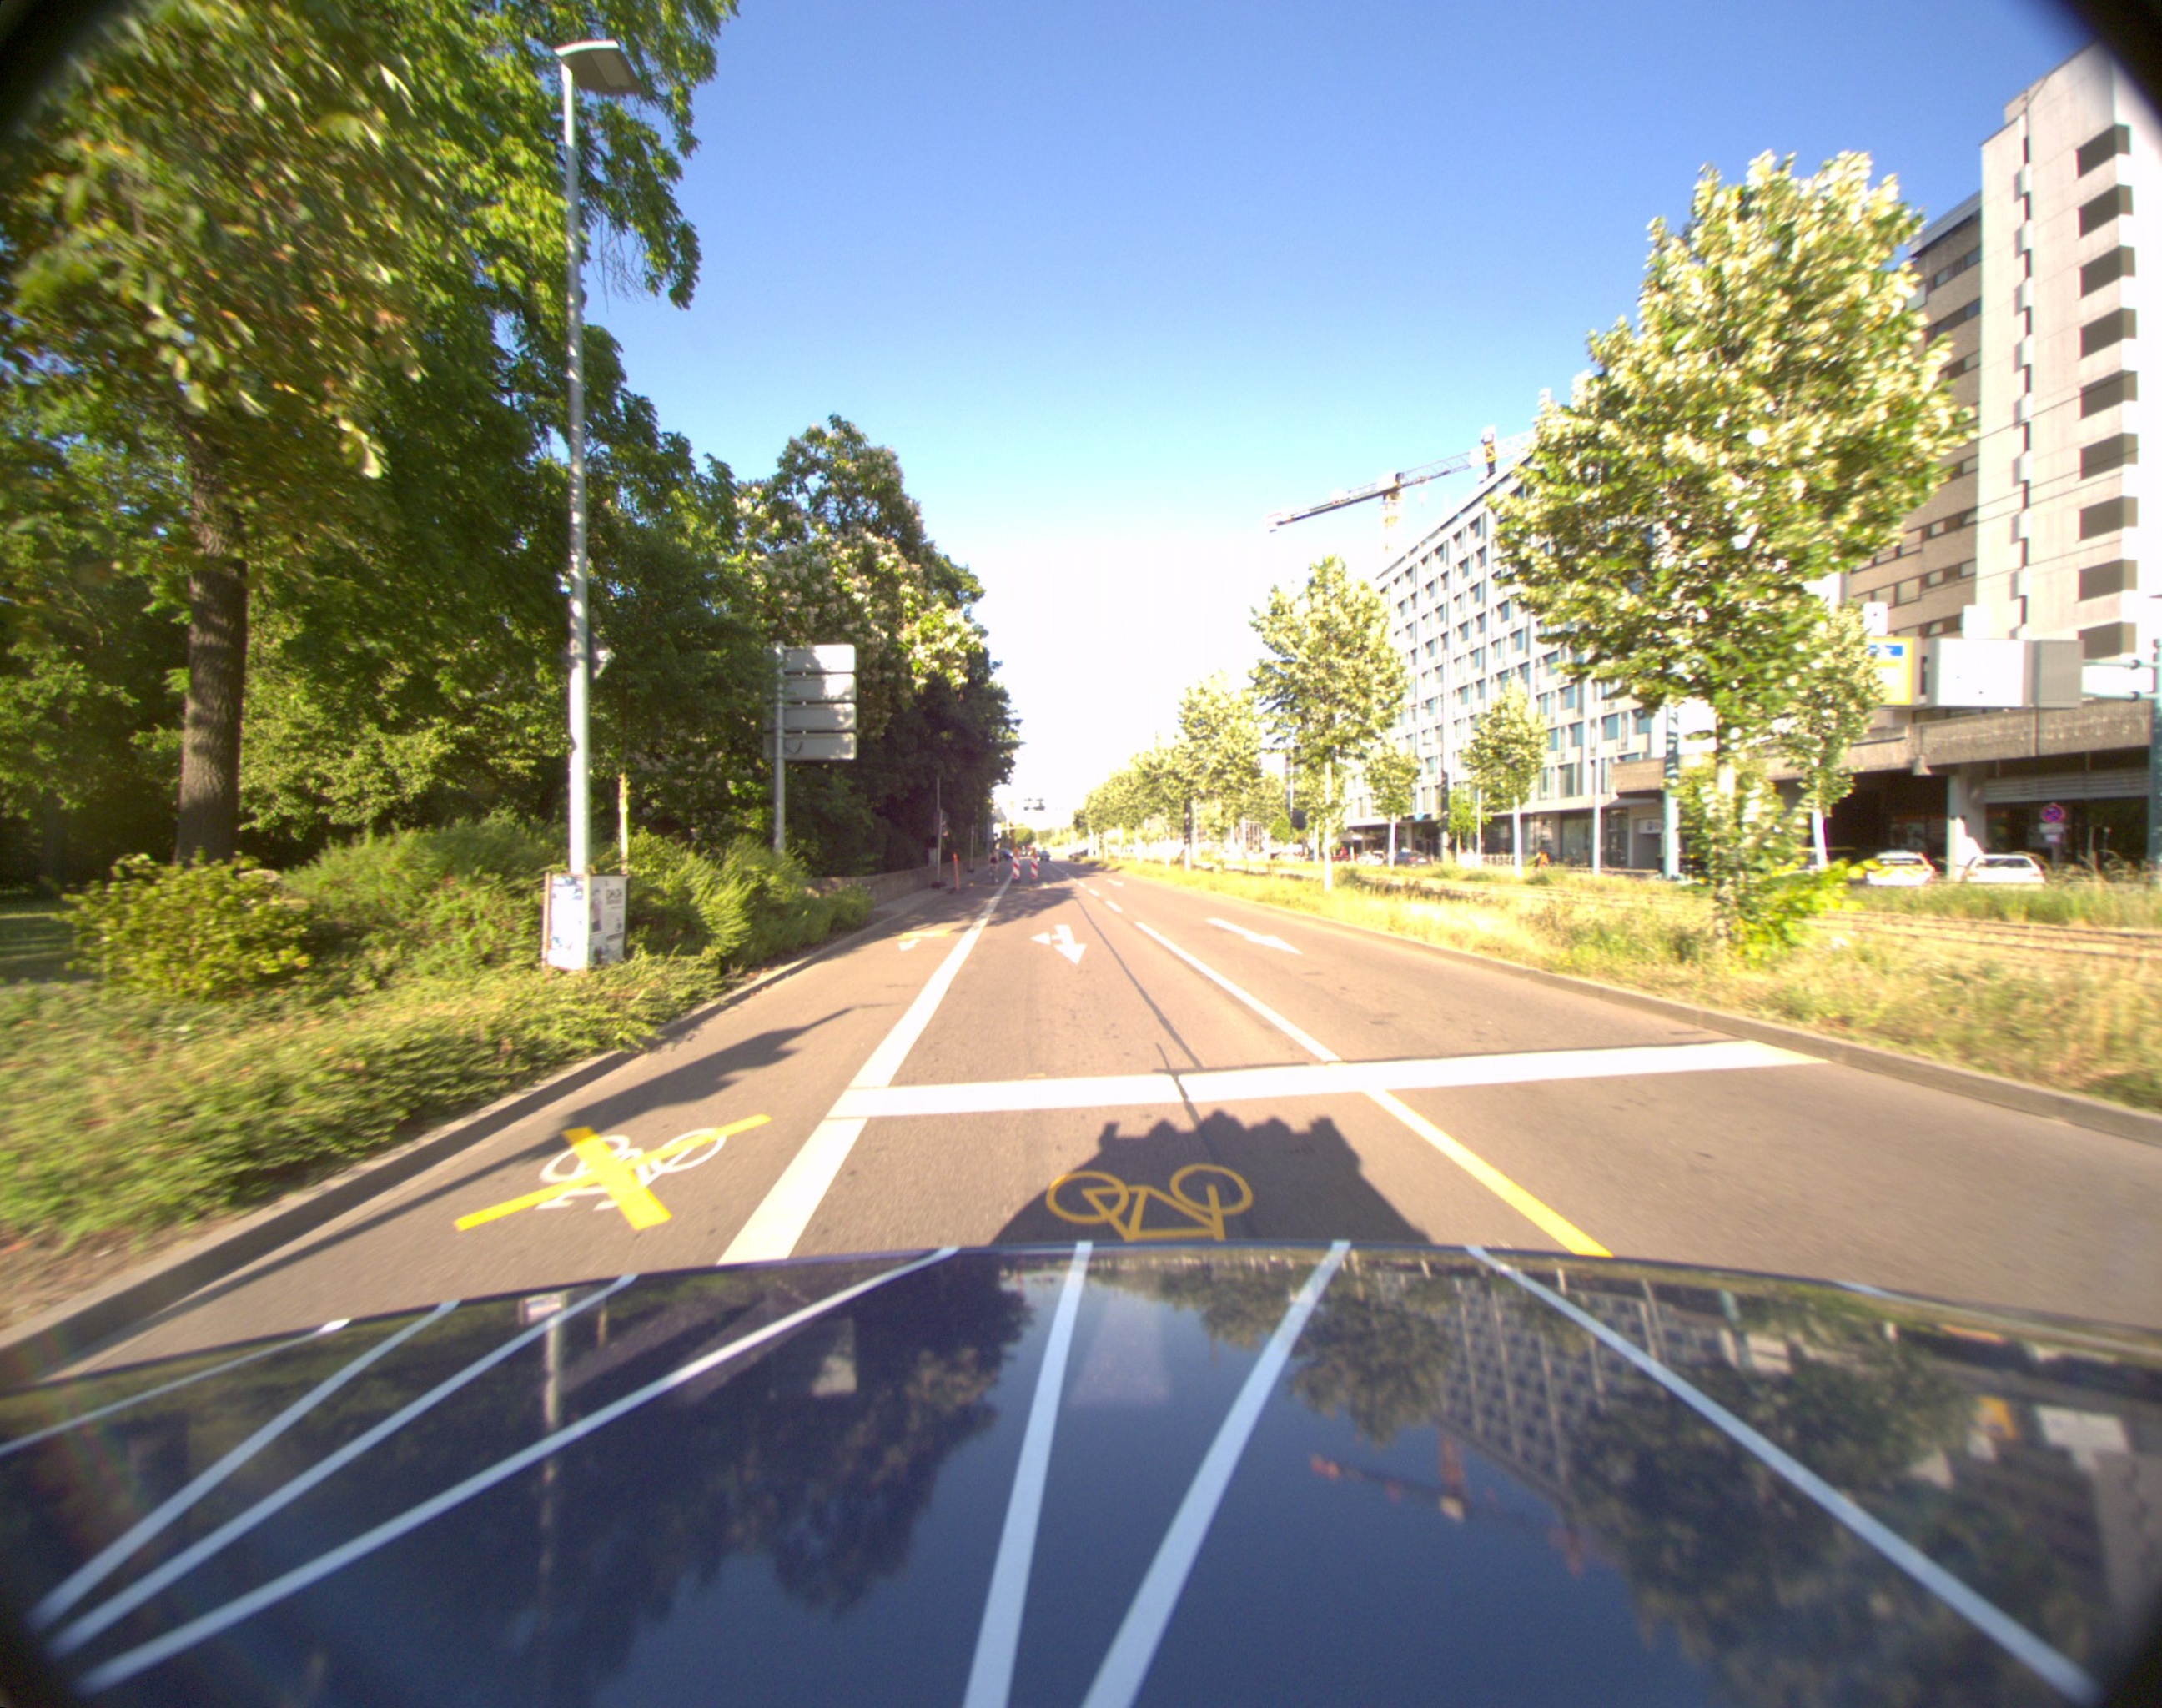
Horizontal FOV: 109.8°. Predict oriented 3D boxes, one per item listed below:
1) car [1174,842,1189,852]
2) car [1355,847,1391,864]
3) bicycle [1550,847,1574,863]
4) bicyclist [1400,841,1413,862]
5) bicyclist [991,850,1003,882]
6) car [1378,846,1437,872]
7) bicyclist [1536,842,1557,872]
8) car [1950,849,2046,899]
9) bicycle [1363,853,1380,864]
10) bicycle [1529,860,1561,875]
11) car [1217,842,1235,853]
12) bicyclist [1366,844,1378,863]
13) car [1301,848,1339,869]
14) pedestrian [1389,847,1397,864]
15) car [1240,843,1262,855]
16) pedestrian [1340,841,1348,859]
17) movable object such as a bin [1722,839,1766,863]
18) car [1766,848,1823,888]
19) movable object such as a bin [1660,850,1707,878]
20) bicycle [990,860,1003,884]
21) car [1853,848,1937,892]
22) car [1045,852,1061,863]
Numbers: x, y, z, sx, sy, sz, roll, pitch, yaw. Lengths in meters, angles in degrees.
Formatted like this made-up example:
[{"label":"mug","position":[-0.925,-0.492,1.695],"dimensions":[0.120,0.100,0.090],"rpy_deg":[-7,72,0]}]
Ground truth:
[{"label":"car","position":[18.296,-1.286,138.223],"dimensions":[1.875,1.742,3.791],"rpy_deg":[-2,1,-3]},{"label":"car","position":[27.324,0.118,71.220],"dimensions":[1.875,1.458,3.387],"rpy_deg":[-2,1,-3]},{"label":"bicycle","position":[35.747,0.064,56.478],"dimensions":[0.395,1.223,1.718],"rpy_deg":[0,1,-13]},{"label":"bicyclist","position":[26.001,-0.200,60.652],"dimensions":[0.539,1.647,0.919],"rpy_deg":[0,1,-5]},{"label":"bicyclist","position":[-3.744,0.515,33.864],"dimensions":[0.516,1.399,0.805],"rpy_deg":[0,1,-4]},{"label":"car","position":[22.671,0.311,52.942],"dimensions":[1.875,1.579,4.636],"rpy_deg":[-2,1,-3]},{"label":"bicyclist","position":[27.023,0.174,44.132],"dimensions":[0.559,1.735,0.919],"rpy_deg":[0,1,-5]},{"label":"car","position":[30.986,0.636,25.783],"dimensions":[1.616,1.436,3.800],"rpy_deg":[-1,2,43]},{"label":"bicycle","position":[24.706,0.392,64.669],"dimensions":[0.437,0.858,2.101],"rpy_deg":[0,1,-5]},{"label":"bicycle","position":[27.045,0.779,44.335],"dimensions":[0.437,0.858,2.101],"rpy_deg":[0,1,-5]},{"label":"car","position":[22.168,-1.059,116.001],"dimensions":[1.875,1.582,3.480],"rpy_deg":[-2,1,-3]},{"label":"bicyclist","position":[24.662,-0.040,64.439],"dimensions":[0.539,1.647,0.919],"rpy_deg":[0,1,-5]},{"label":"car","position":[22.024,0.394,70.245],"dimensions":[1.875,1.693,4.486],"rpy_deg":[-2,1,-3]},{"label":"pedestrian","position":[30.294,0.145,73.860],"dimensions":[0.479,1.626,0.597],"rpy_deg":[0,1,-3]},{"label":"car","position":[21.029,-0.627,94.094],"dimensions":[1.614,1.370,3.877],"rpy_deg":[-2,1,-3]},{"label":"pedestrian","position":[29.355,-0.469,84.823],"dimensions":[0.622,2.002,0.725],"rpy_deg":[0,1,-3]},{"label":"movable object such as a bin","position":[37.147,-0.168,42.572],"dimensions":[1.390,1.326,1.233],"rpy_deg":[0,1,-5]},{"label":"car","position":[30.373,0.565,32.425],"dimensions":[1.616,1.436,4.555],"rpy_deg":[-1,2,41]},{"label":"movable object such as a bin","position":[29.348,0.479,37.032],"dimensions":[1.390,1.363,1.170],"rpy_deg":[0,1,-5]},{"label":"bicycle","position":[-3.744,0.793,33.797],"dimensions":[0.506,1.018,1.504],"rpy_deg":[-1,1,-4]},{"label":"car","position":[30.555,0.561,28.614],"dimensions":[1.785,1.436,3.808],"rpy_deg":[-1,2,41]},{"label":"car","position":[-3.477,0.437,94.417],"dimensions":[1.999,1.346,3.998],"rpy_deg":[0,1,-3]}]
